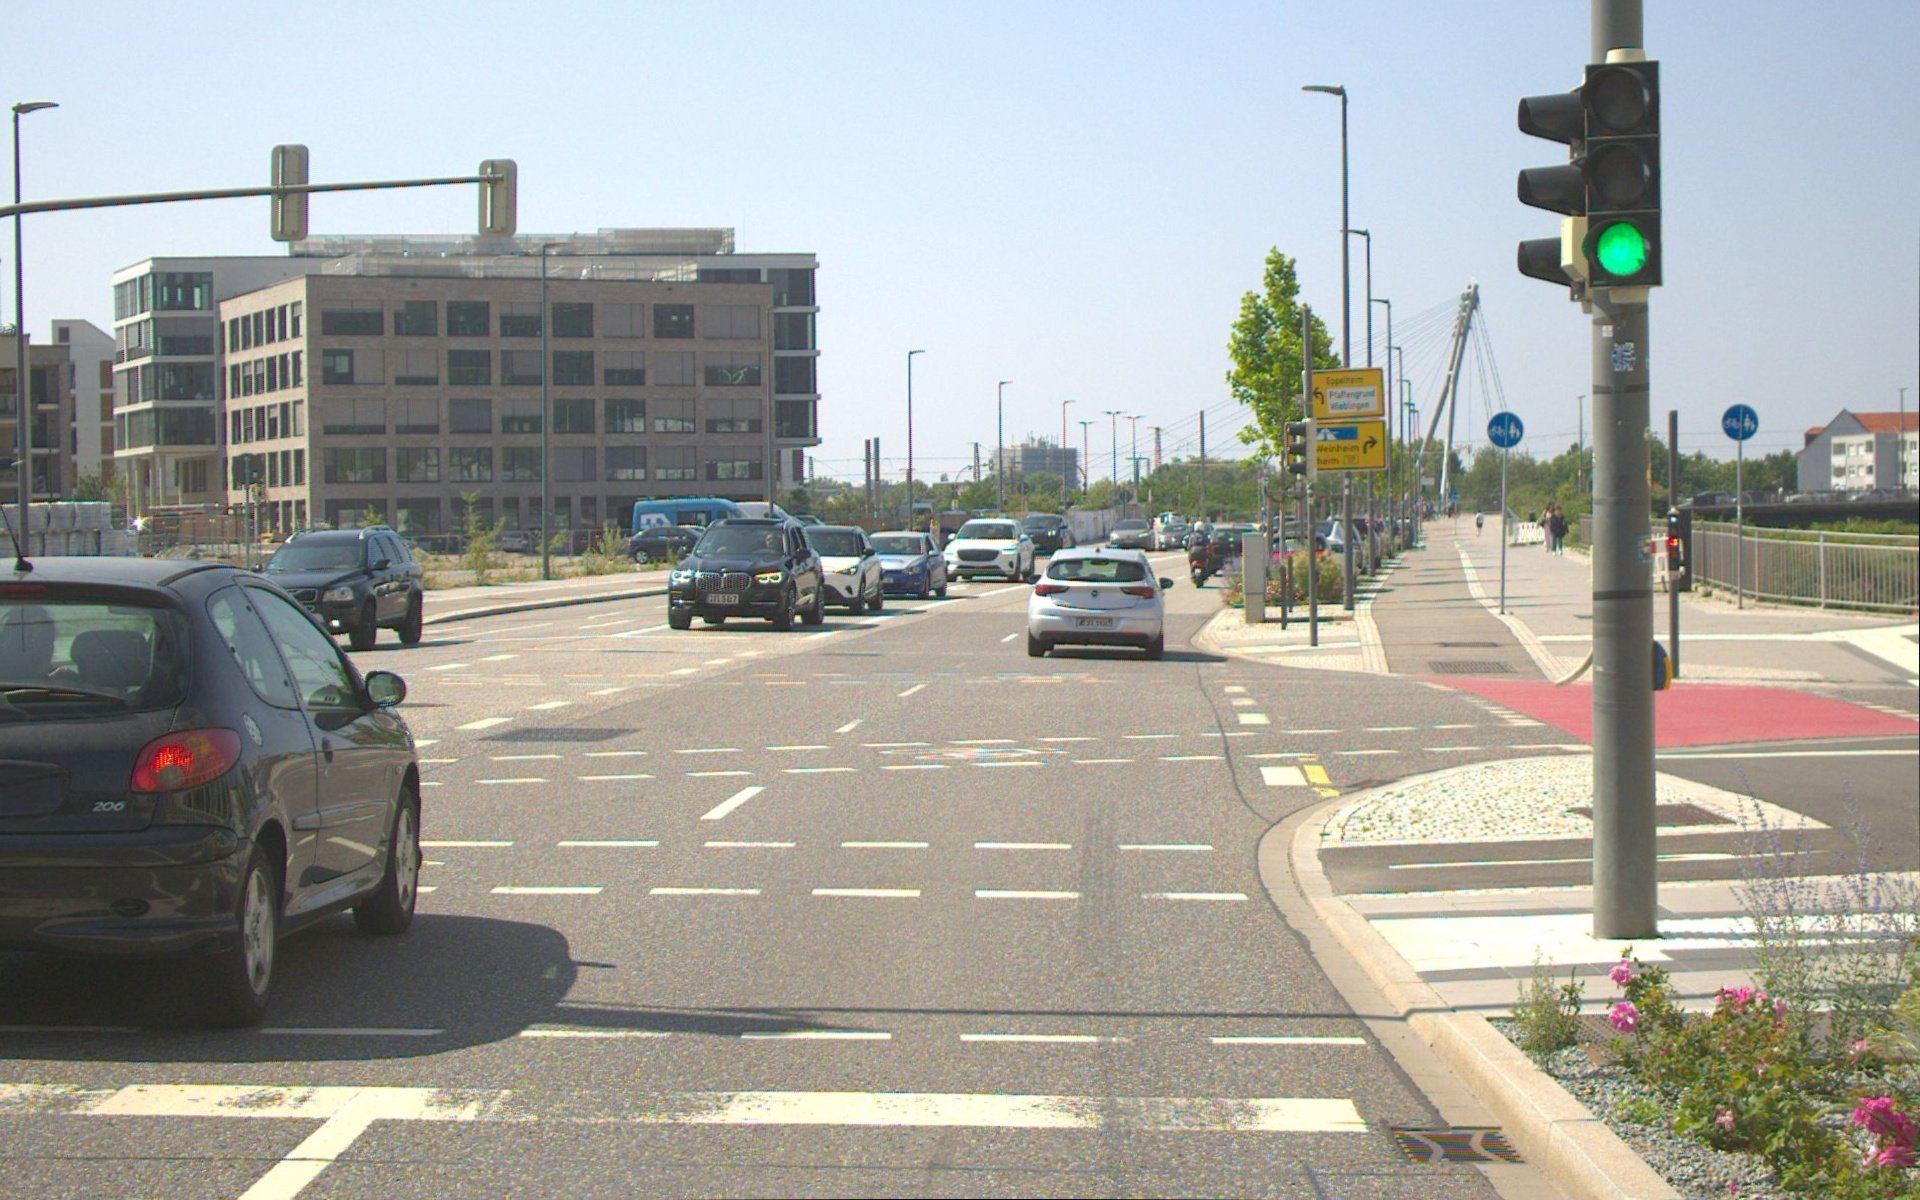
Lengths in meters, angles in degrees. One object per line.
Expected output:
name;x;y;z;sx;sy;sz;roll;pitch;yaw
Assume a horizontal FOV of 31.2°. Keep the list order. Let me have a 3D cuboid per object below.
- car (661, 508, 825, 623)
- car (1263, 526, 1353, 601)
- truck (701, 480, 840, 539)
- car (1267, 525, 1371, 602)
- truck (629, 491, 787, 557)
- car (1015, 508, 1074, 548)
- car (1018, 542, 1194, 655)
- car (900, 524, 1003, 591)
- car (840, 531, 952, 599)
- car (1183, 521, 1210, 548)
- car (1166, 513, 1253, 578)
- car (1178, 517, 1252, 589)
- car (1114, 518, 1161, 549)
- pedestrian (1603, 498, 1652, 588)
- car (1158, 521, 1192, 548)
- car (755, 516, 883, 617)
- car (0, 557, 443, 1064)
car;-3.507;-0.587;56.357;1.940;1.782;4.654;-1;1;6
car;7.878;-0.850;77.492;1.872;1.621;4.875;-1;1;7
truck;-8.053;-3.873;146.529;5.568;2.354;2.275;-1;2;7
car;7.441;-0.770;71.041;1.994;1.514;3.999;-1;1;8
truck;-10.218;-3.080;139.659;6.005;2.534;2.275;-1;1;6
car;3.206;-2.709;129.667;1.798;1.410;3.789;1;1;8
car;2.022;-0.051;46.478;1.779;1.437;3.998;-1;1;11
car;-0.190;-1.090;86.846;1.914;1.644;4.729;-1;1;8
car;-1.360;-0.775;74.912;1.786;1.416;4.281;-1;1;8
car;14.161;-3.938;205.914;1.579;1.557;3.673;1;1;4
car;6.246;-1.340;85.875;1.779;1.563;3.998;1;1;10
car;6.420;-1.180;86.202;1.793;1.744;3.999;-1;1;5
car;8.377;-3.140;162.027;1.894;1.410;3.597;1;1;8
pedestrian;12.361;-1.058;63.702;0.751;1.603;0.949;-3;1;8
car;11.714;-3.572;186.959;1.794;1.411;3.999;1;1;4
car;-2.622;-0.662;64.747;1.779;1.676;4.098;-3;2;6
car;-2.881;0.582;11.620;1.619;1.411;3.727;-1;1;1
